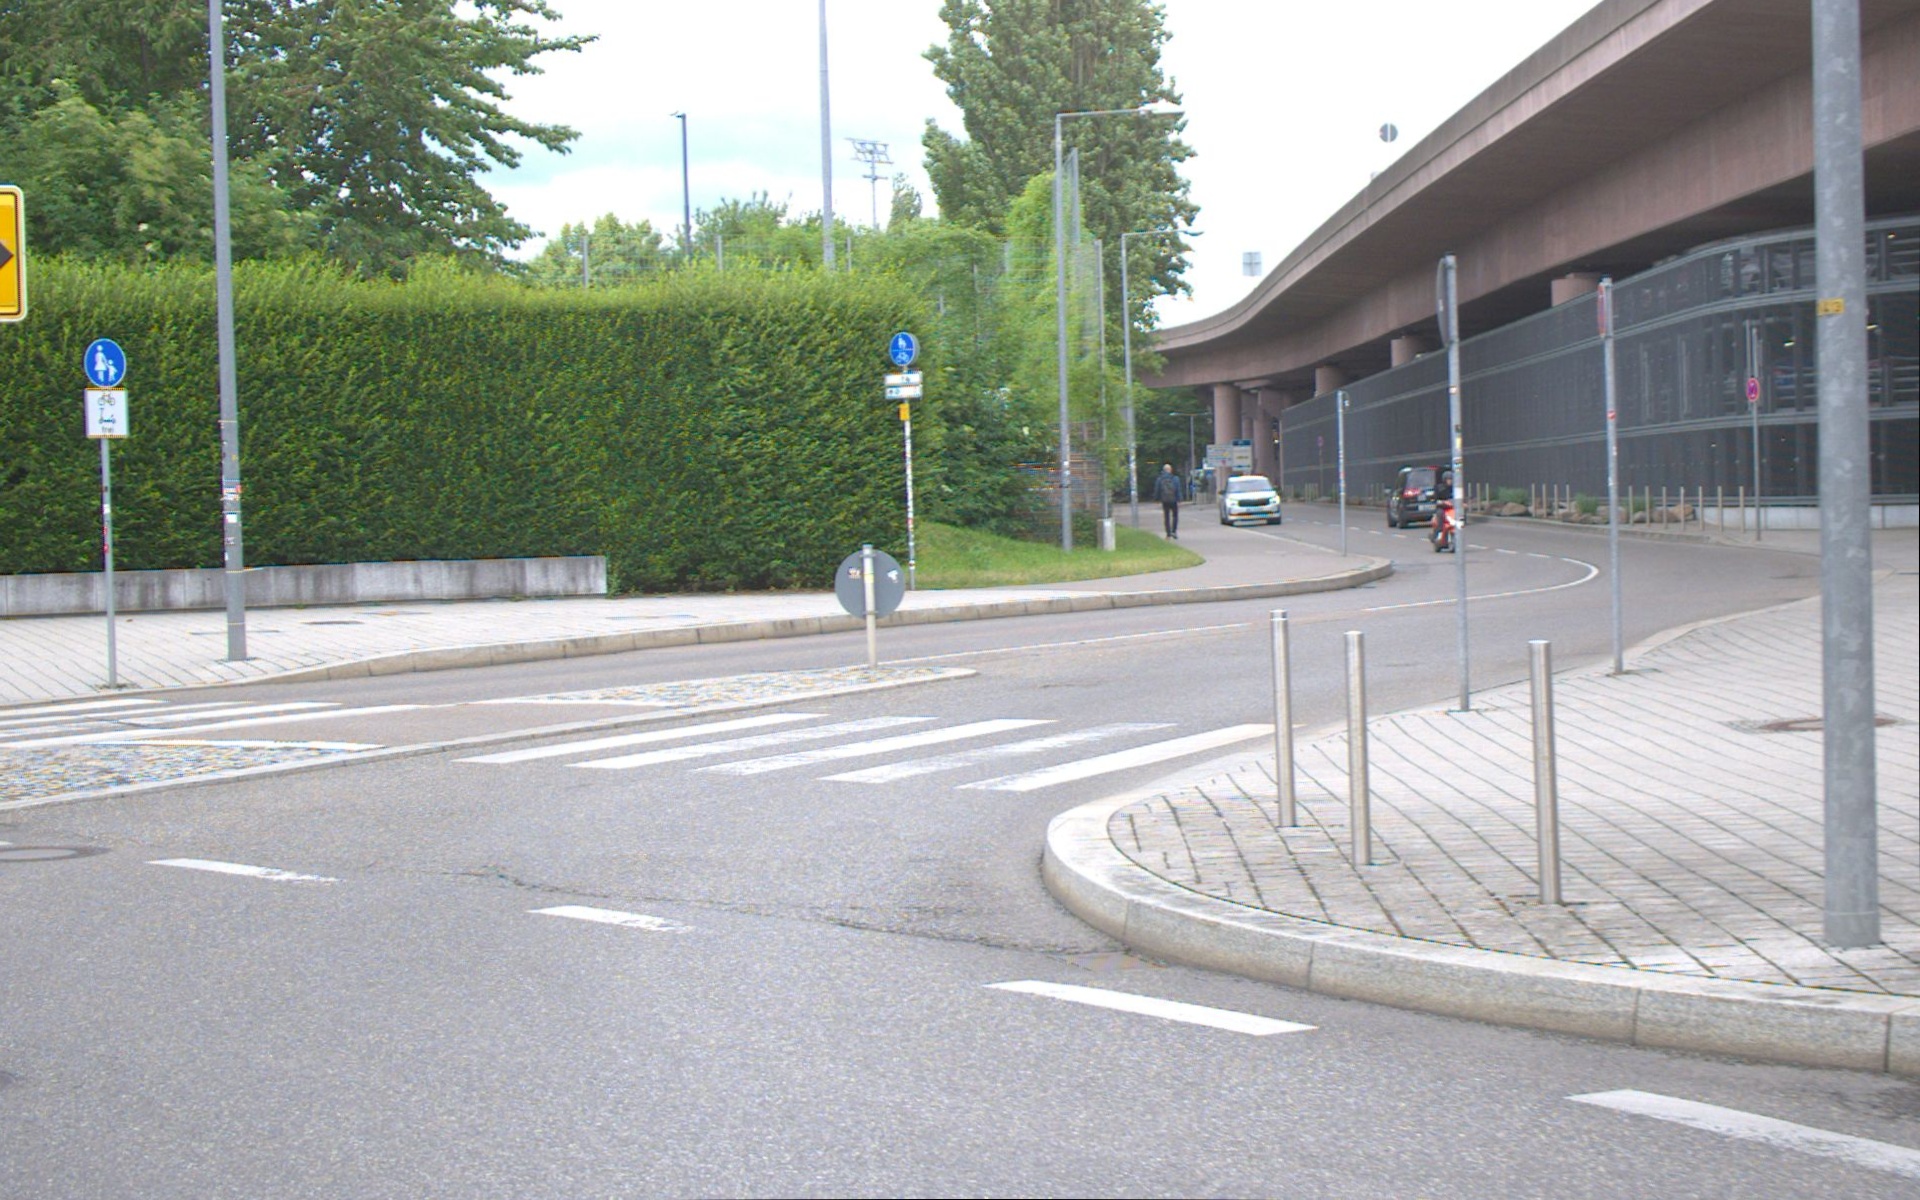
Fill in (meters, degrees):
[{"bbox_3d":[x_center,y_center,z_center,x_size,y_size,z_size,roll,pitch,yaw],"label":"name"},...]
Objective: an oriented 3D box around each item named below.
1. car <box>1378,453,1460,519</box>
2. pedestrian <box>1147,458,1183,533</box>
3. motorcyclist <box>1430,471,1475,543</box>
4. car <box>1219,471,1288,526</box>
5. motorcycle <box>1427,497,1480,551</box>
[{"bbox_3d":[12.856,-3.209,96.443,1.839,1.705,3.706,-2,3,2],"label":"car"},{"bbox_3d":[4.989,-2.553,83.545,0.804,1.774,0.920,-2,3,4],"label":"pedestrian"},{"bbox_3d":[10.021,-1.904,69.963,0.761,1.414,0.870,-2,3,-1],"label":"motorcyclist"},{"bbox_3d":[9.904,-3.446,116.226,1.864,1.677,4.406,-2,3,-1],"label":"car"},{"bbox_3d":[10.032,-1.547,69.974,0.746,1.019,1.957,-2,3,-1],"label":"motorcycle"}]
